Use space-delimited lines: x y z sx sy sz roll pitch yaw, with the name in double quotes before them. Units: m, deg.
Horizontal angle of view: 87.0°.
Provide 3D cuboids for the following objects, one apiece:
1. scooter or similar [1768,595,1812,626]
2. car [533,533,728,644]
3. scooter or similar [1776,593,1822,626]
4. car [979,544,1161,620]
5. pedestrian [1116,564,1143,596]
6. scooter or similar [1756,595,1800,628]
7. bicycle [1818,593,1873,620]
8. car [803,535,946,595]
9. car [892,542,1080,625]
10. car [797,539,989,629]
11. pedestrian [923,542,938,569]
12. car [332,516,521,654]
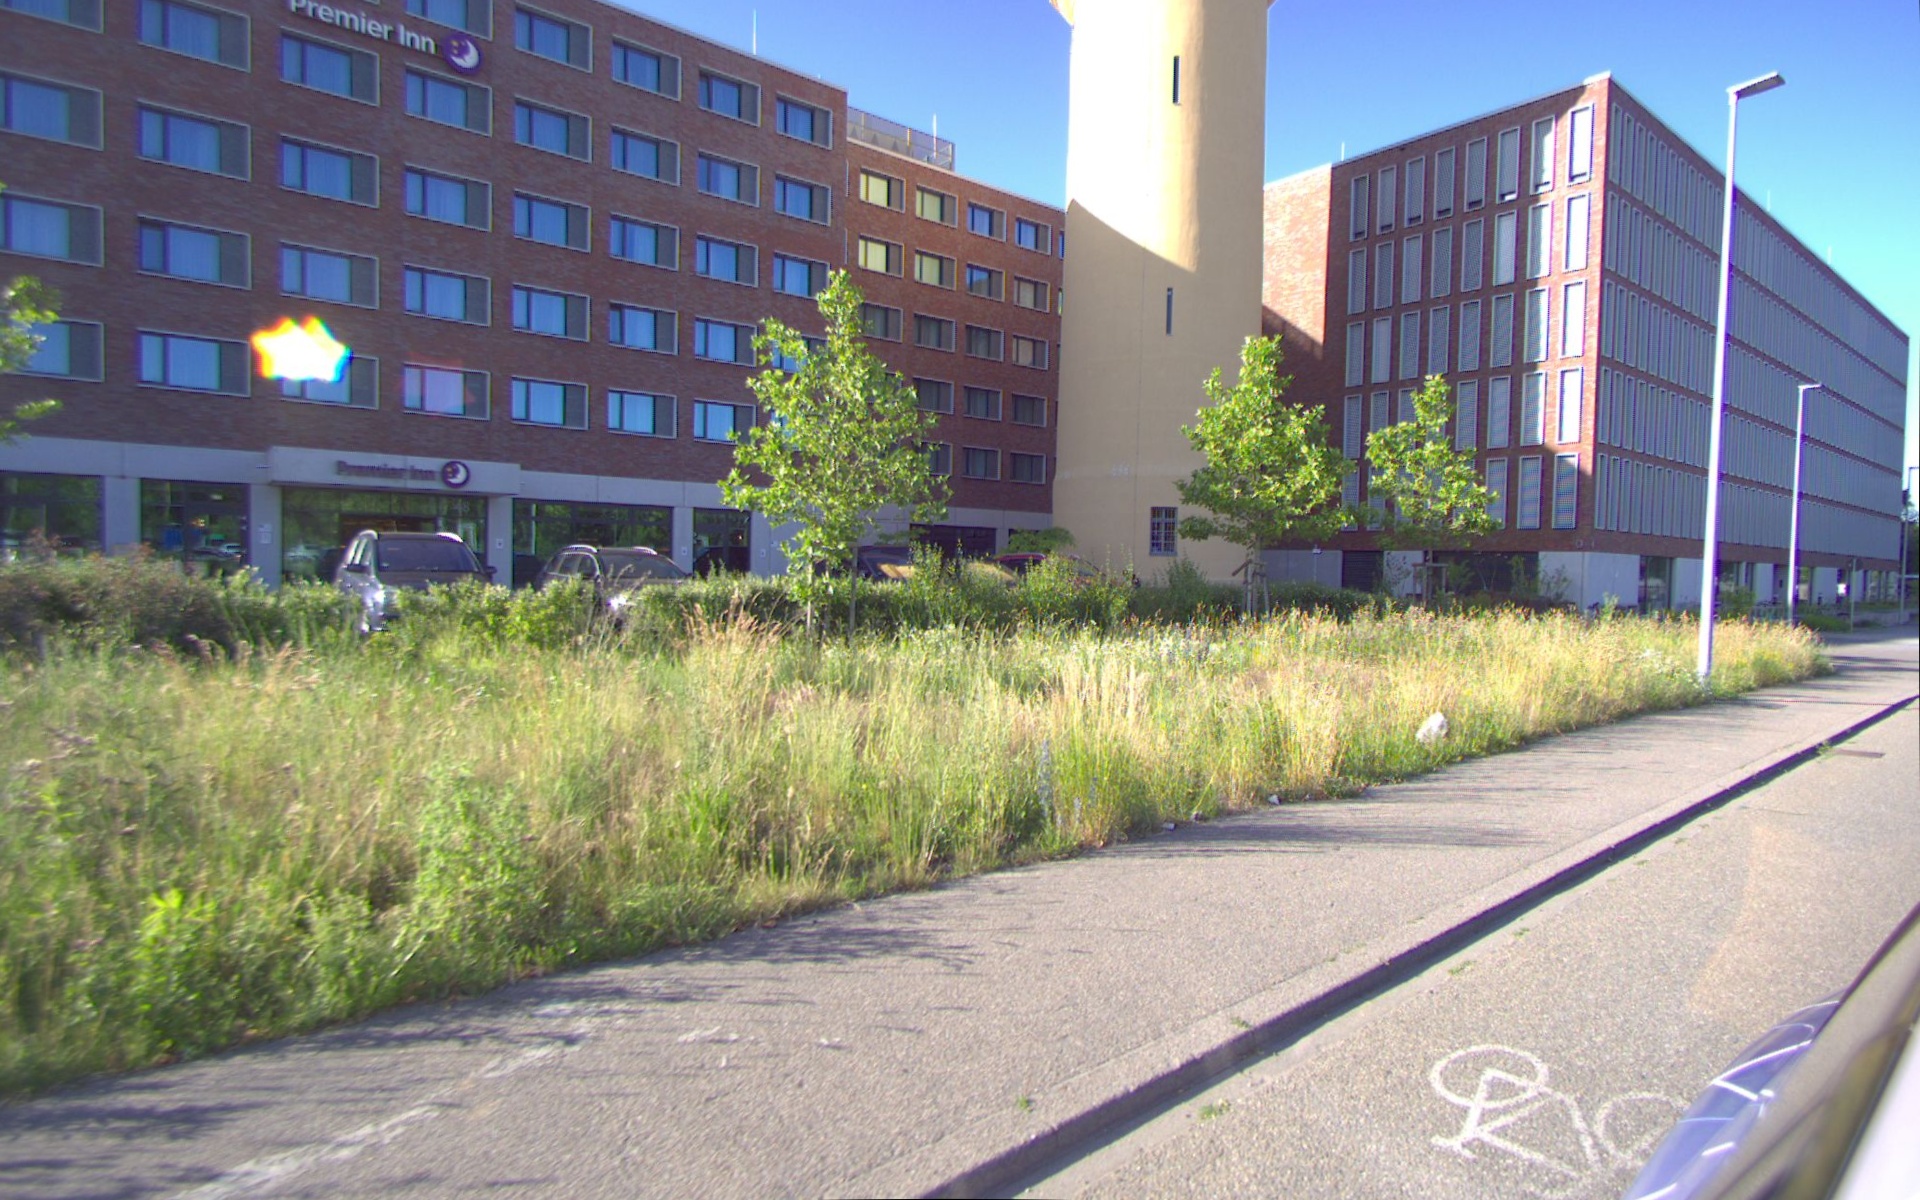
"scooter or similar" 32.764 0.412 39.971 0.359 1.170 1.247 0 2 -36
"car" -5.582 -0.219 16.829 1.817 1.600 4.197 0 1 -37
"scooter or similar" 33.939 0.381 40.951 0.416 1.260 1.345 0 2 -36
"car" 2.445 -0.436 23.417 1.817 1.600 4.197 0 1 -37
"pedestrian" 6.371 -0.771 38.107 0.800 1.150 0.758 1 3 -6
"scooter or similar" 31.533 0.441 39.027 0.334 1.209 1.247 0 2 -36
"bicycle" 42.586 0.318 48.695 1.932 1.184 0.369 4 3 44
"car" -2.934 -1.182 35.414 4.708 1.959 1.976 0 1 -40
"car" 0.452 -0.381 21.742 1.817 1.600 4.197 0 1 -37
"car" -1.450 -0.333 20.241 1.817 1.600 4.197 0 1 -37
"pedestrian" -1.274 -1.908 43.682 0.525 1.155 0.341 -1 2 -45
"car" -7.875 -0.237 14.746 1.817 1.727 3.999 0 1 -37
